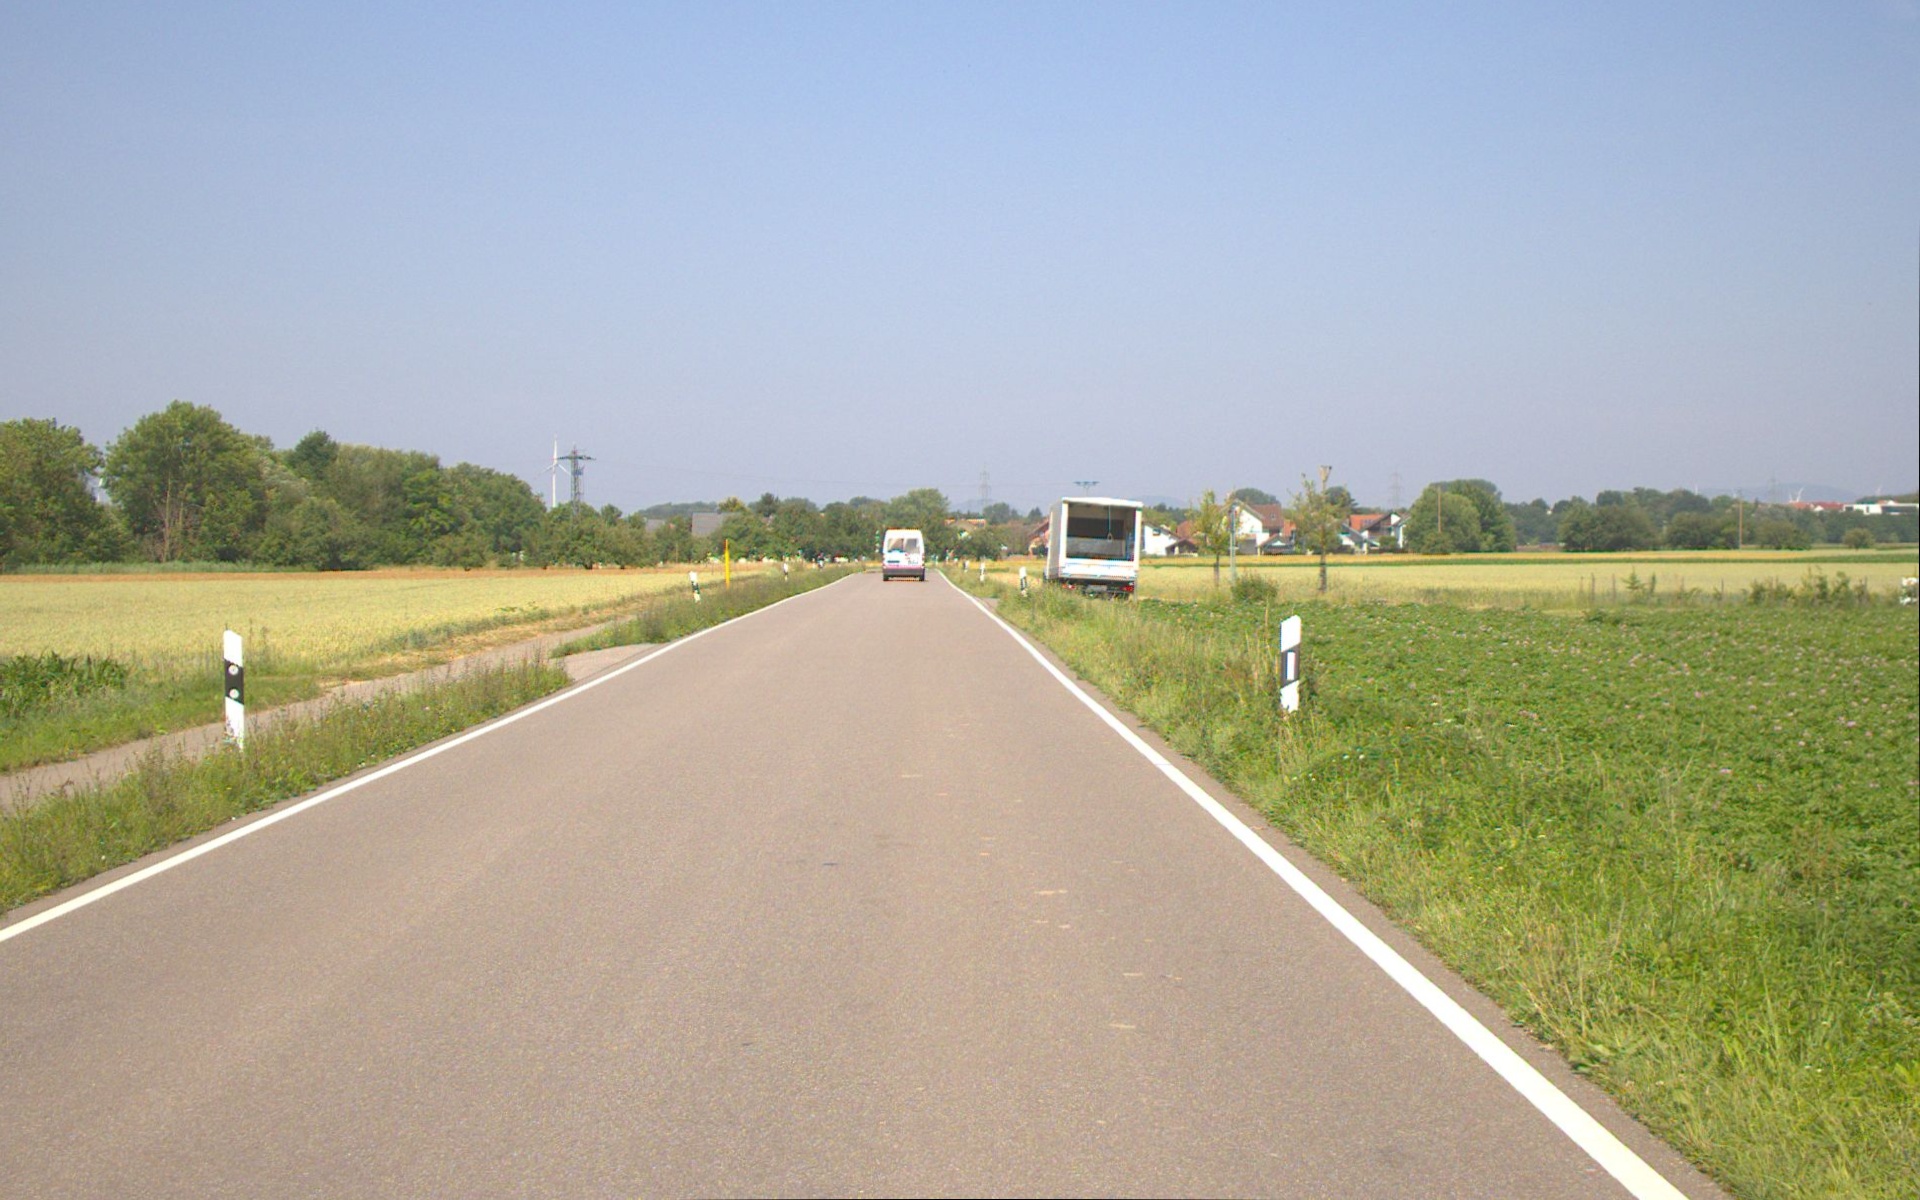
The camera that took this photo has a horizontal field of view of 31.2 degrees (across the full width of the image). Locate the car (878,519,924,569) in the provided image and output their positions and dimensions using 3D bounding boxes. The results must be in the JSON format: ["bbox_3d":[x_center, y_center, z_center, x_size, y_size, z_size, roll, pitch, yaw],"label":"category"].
[{"bbox_3d":[-2.854,-2.689,166.216,2.107,2.296,5.496,2,1,-1],"label":"car"}]

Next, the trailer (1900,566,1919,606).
[{"bbox_3d":[30.587,-0.388,104.774,3.587,1.185,1.663,2,1,11],"label":"trailer"}]

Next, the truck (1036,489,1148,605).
[{"bbox_3d":[3.552,-1.440,94.155,2.335,2.932,7.009,3,1,-3],"label":"truck"}]
